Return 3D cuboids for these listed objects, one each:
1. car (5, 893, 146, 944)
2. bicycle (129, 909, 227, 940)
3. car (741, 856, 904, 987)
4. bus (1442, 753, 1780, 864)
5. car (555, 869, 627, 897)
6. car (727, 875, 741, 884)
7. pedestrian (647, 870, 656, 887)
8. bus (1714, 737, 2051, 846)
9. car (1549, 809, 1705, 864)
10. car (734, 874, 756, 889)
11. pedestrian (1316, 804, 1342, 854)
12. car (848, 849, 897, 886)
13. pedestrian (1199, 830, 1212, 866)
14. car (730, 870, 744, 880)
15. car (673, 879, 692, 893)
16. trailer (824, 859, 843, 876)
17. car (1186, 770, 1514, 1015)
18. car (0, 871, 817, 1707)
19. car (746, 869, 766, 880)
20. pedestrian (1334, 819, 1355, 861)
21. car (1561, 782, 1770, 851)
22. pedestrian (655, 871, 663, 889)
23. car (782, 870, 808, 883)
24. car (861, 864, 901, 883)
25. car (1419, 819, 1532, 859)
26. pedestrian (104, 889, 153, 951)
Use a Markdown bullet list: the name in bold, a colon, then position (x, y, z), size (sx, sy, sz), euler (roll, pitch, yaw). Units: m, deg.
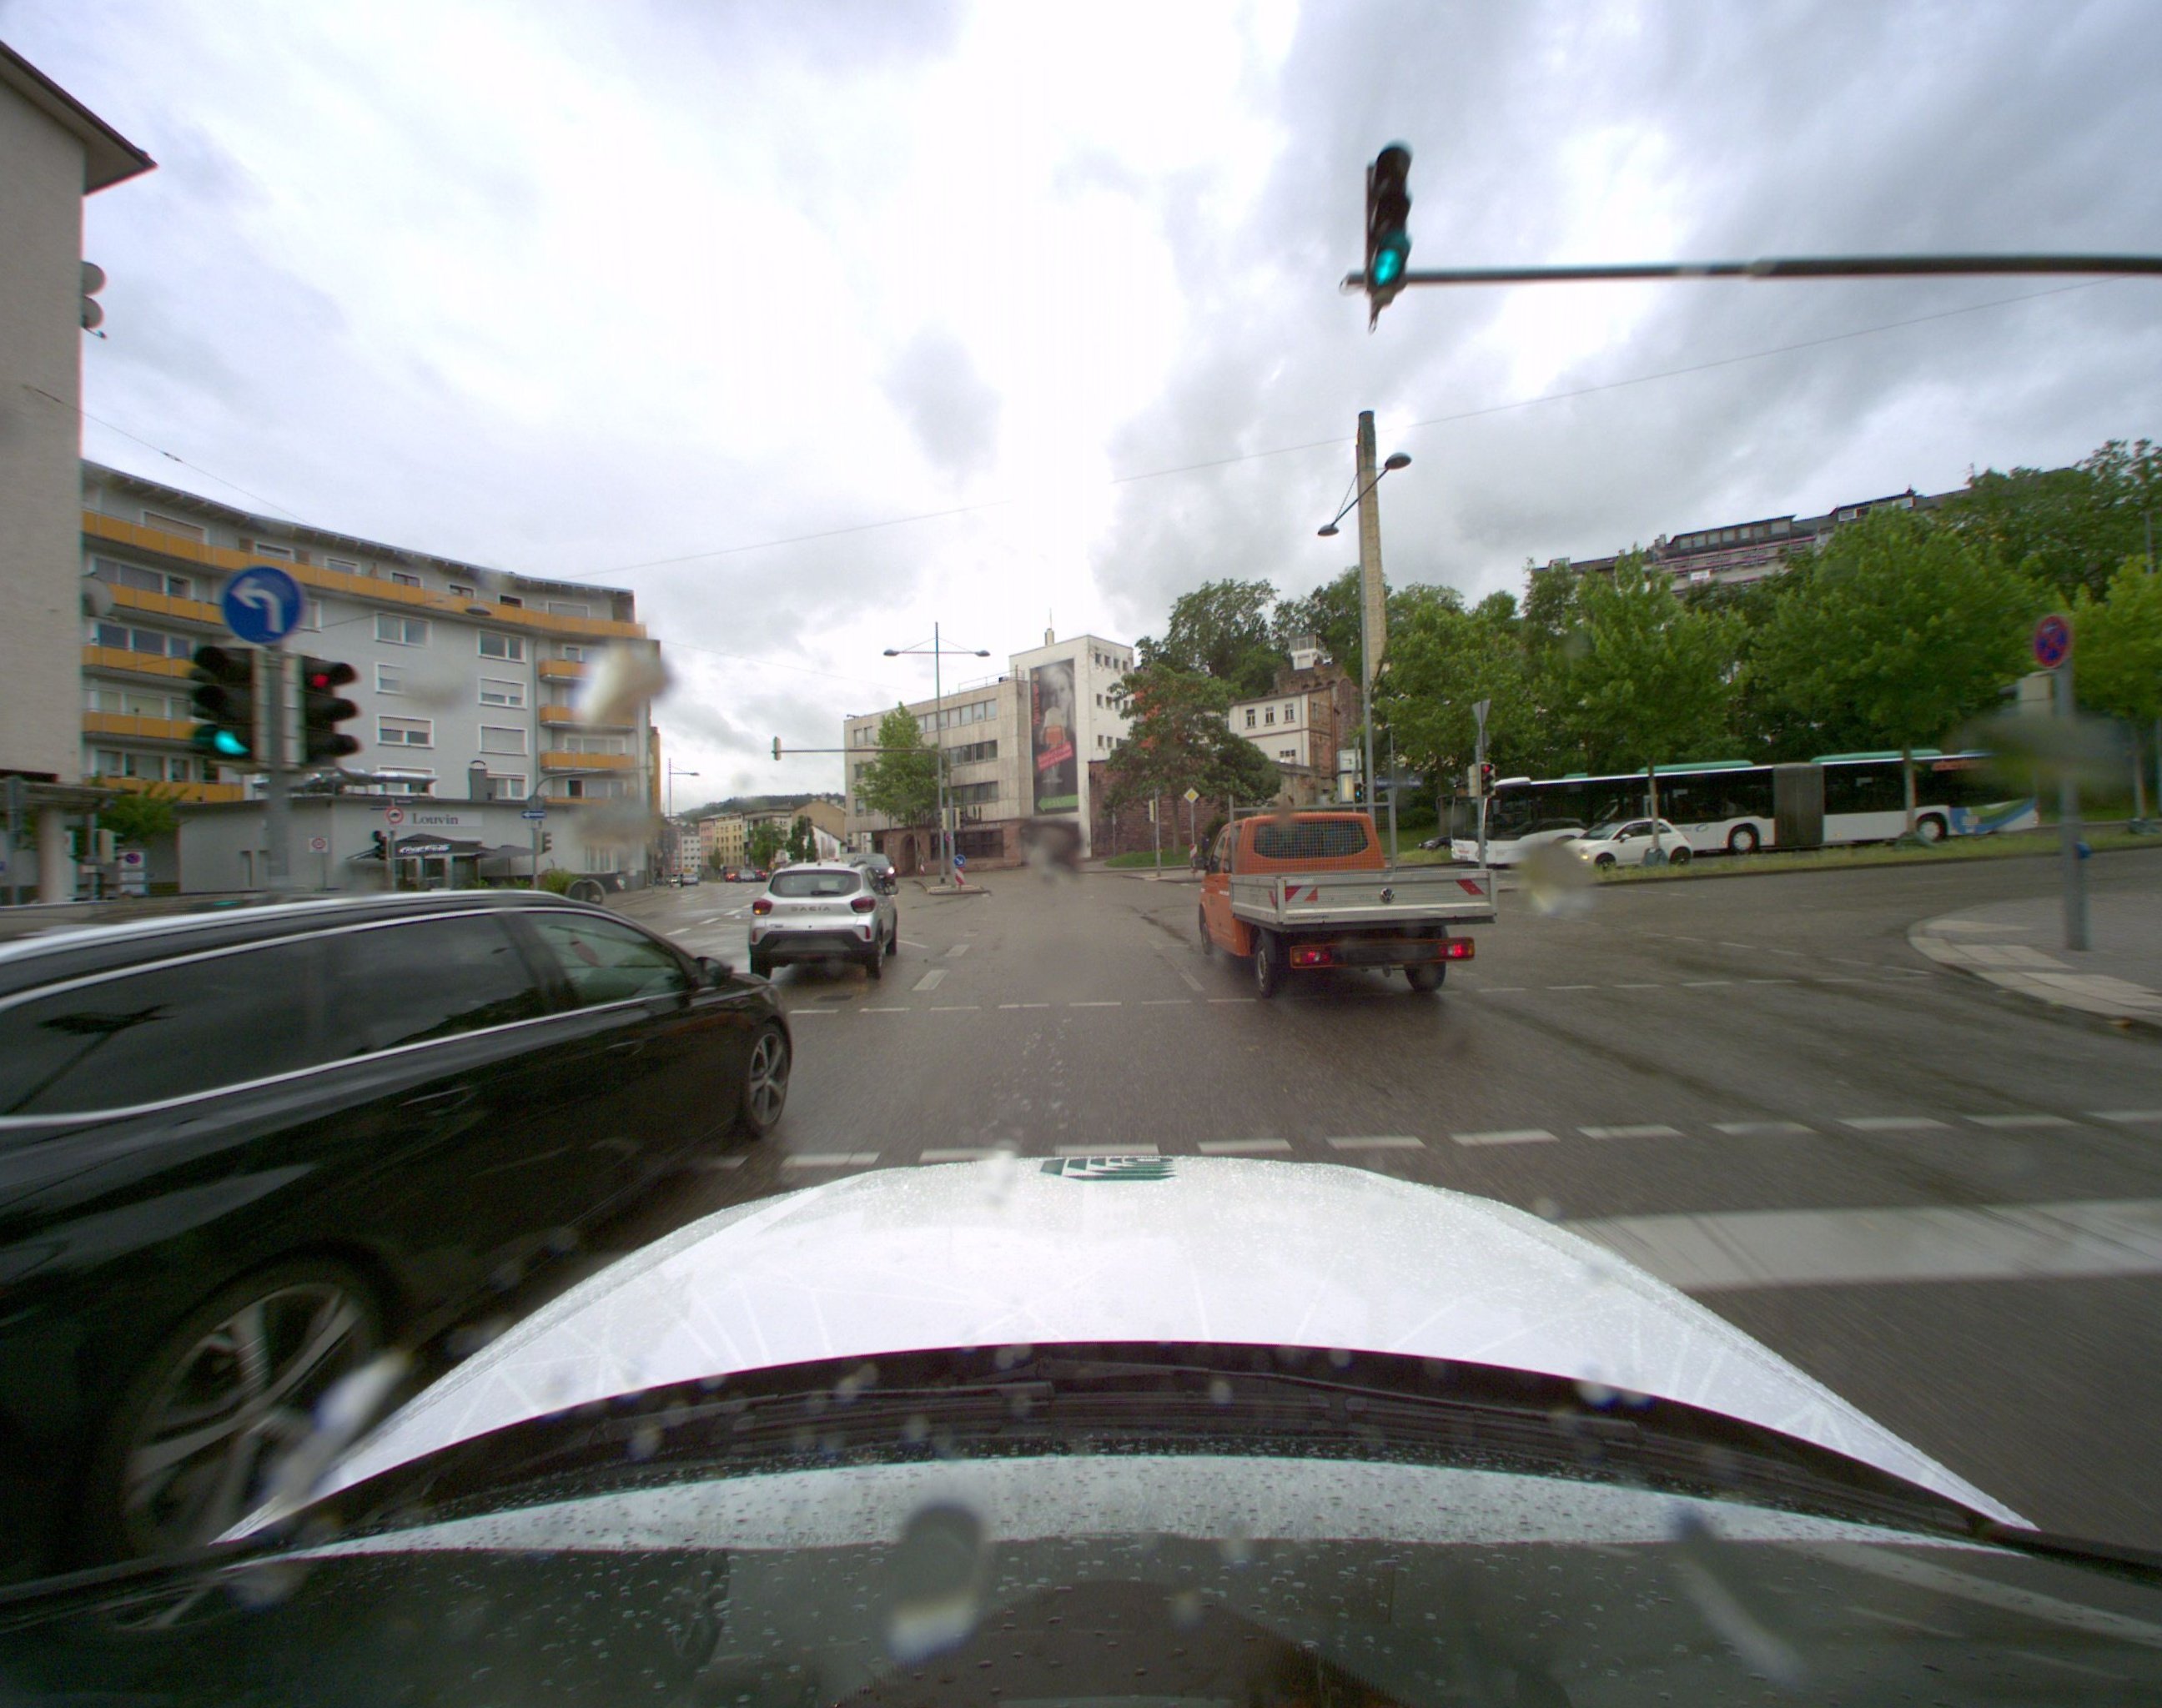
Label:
- **car**: position (-36.376, 2.340, 29.480), size (3.954, 1.608, 1.911), euler (-2, 0, 18)
- **bicycle**: position (-31.004, 2.408, 28.015), size (0.613, 0.809, 2.218), euler (-2, 0, 11)
- **car**: position (-3.400, 0.787, 11.314), size (1.536, 1.461, 3.619), euler (-2, 0, -8)
- **bus**: position (17.476, -1.477, 27.242), size (9.597, 3.216, 2.705), euler (-2, 1, -1)
- **car**: position (-29.934, 1.769, 49.862), size (3.646, 1.338, 1.481), euler (-5, 1, -30)
- **car**: position (-61.014, 4.434, 143.116), size (1.963, 1.396, 3.832), euler (-2, 1, -28)
- **pedestrian**: position (-42.321, 2.448, 80.208), size (0.633, 1.676, 0.900), euler (3, -4, -29)
- **bus**: position (26.494, -2.024, 27.210), size (8.501, 3.180, 2.689), euler (-2, 1, 1)
- **car**: position (15.982, -0.527, 23.956), size (3.547, 1.451, 1.590), euler (-2, 1, -1)
- **car**: position (-37.325, 3.054, 90.458), size (1.743, 1.440, 4.372), euler (-2, -1, -28)
- **pedestrian**: position (10.261, -1.039, 33.693), size (0.777, 2.013, 0.592), euler (-3, 1, 37)
- **car**: position (-10.096, 0.620, 39.263), size (1.762, 1.614, 4.181), euler (-3, 1, -21)
- **pedestrian**: position (6.308, -0.292, 41.166), size (0.593, 1.781, 0.658), euler (0, -2, 11)
- **car**: position (-54.179, 3.235, 128.197), size (1.674, 1.396, 3.832), euler (-2, 1, -28)
- **car**: position (-42.724, 3.407, 87.302), size (1.738, 1.366, 4.074), euler (-2, -2, -26)
- **trailer**: position (-42.939, 2.284, 141.241), size (2.138, 2.716, 5.345), euler (-4, 1, -25)
- **car**: position (2.686, 0.370, 9.828), size (2.095, 2.089, 5.540), euler (-1, -1, 0)
- **car**: position (-2.632, 0.808, 3.019), size (1.793, 1.434, 4.397), euler (-1, -1, 1)
- **car**: position (-42.869, 2.709, 107.396), size (1.676, 1.396, 3.827), euler (-2, 1, -32)
- **pedestrian**: position (10.981, -0.581, 33.943), size (0.558, 1.705, 0.525), euler (-4, 1, -20)
- **car**: position (22.944, -1.414, 32.335), size (6.270, 2.234, 2.266), euler (-3, 0, 18)
- **pedestrian**: position (-41.672, 2.596, 80.440), size (0.578, 1.789, 0.819), euler (3, -4, -27)
- **car**: position (-33.648, 2.667, 95.827), size (1.678, 1.396, 3.822), euler (-2, 0, -38)
- **car**: position (-16.047, 1.559, 65.199), size (1.802, 1.403, 4.586), euler (-1, -1, -32)
- **car**: position (16.538, -0.620, 34.331), size (4.050, 1.374, 1.804), euler (-3, 0, 18)
- **pedestrian**: position (-25.961, 1.791, 22.204), size (0.523, 1.651, 0.604), euler (-1, -3, 7)
